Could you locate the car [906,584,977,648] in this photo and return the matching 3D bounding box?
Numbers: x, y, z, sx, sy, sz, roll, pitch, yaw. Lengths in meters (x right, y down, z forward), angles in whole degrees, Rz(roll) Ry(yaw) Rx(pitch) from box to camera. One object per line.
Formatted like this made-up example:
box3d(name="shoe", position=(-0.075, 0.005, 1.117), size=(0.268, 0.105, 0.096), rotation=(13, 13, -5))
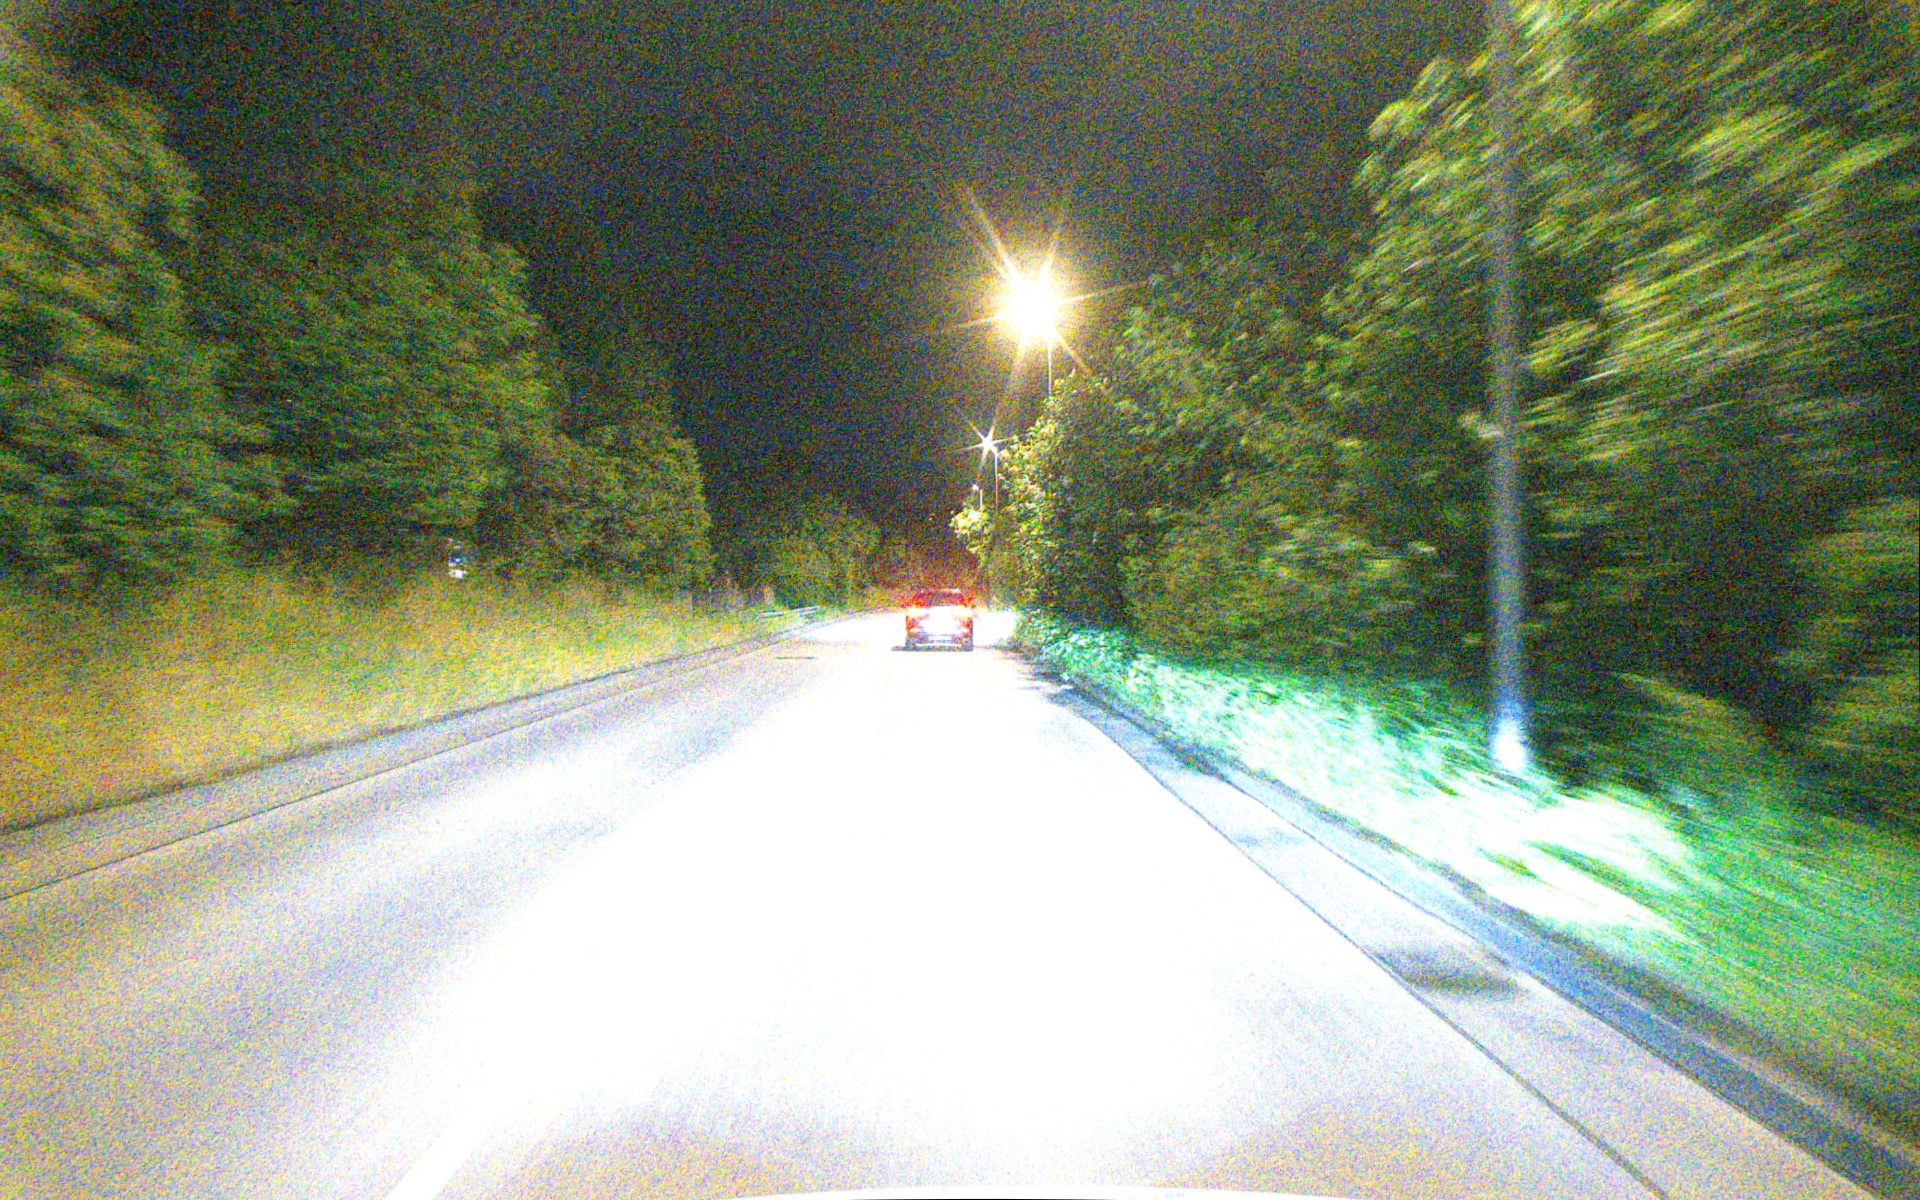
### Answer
box3d(name="car", position=(-0.533, 0.395, 43.959), size=(1.778, 1.601, 3.942), rotation=(-1, 0, -2))
